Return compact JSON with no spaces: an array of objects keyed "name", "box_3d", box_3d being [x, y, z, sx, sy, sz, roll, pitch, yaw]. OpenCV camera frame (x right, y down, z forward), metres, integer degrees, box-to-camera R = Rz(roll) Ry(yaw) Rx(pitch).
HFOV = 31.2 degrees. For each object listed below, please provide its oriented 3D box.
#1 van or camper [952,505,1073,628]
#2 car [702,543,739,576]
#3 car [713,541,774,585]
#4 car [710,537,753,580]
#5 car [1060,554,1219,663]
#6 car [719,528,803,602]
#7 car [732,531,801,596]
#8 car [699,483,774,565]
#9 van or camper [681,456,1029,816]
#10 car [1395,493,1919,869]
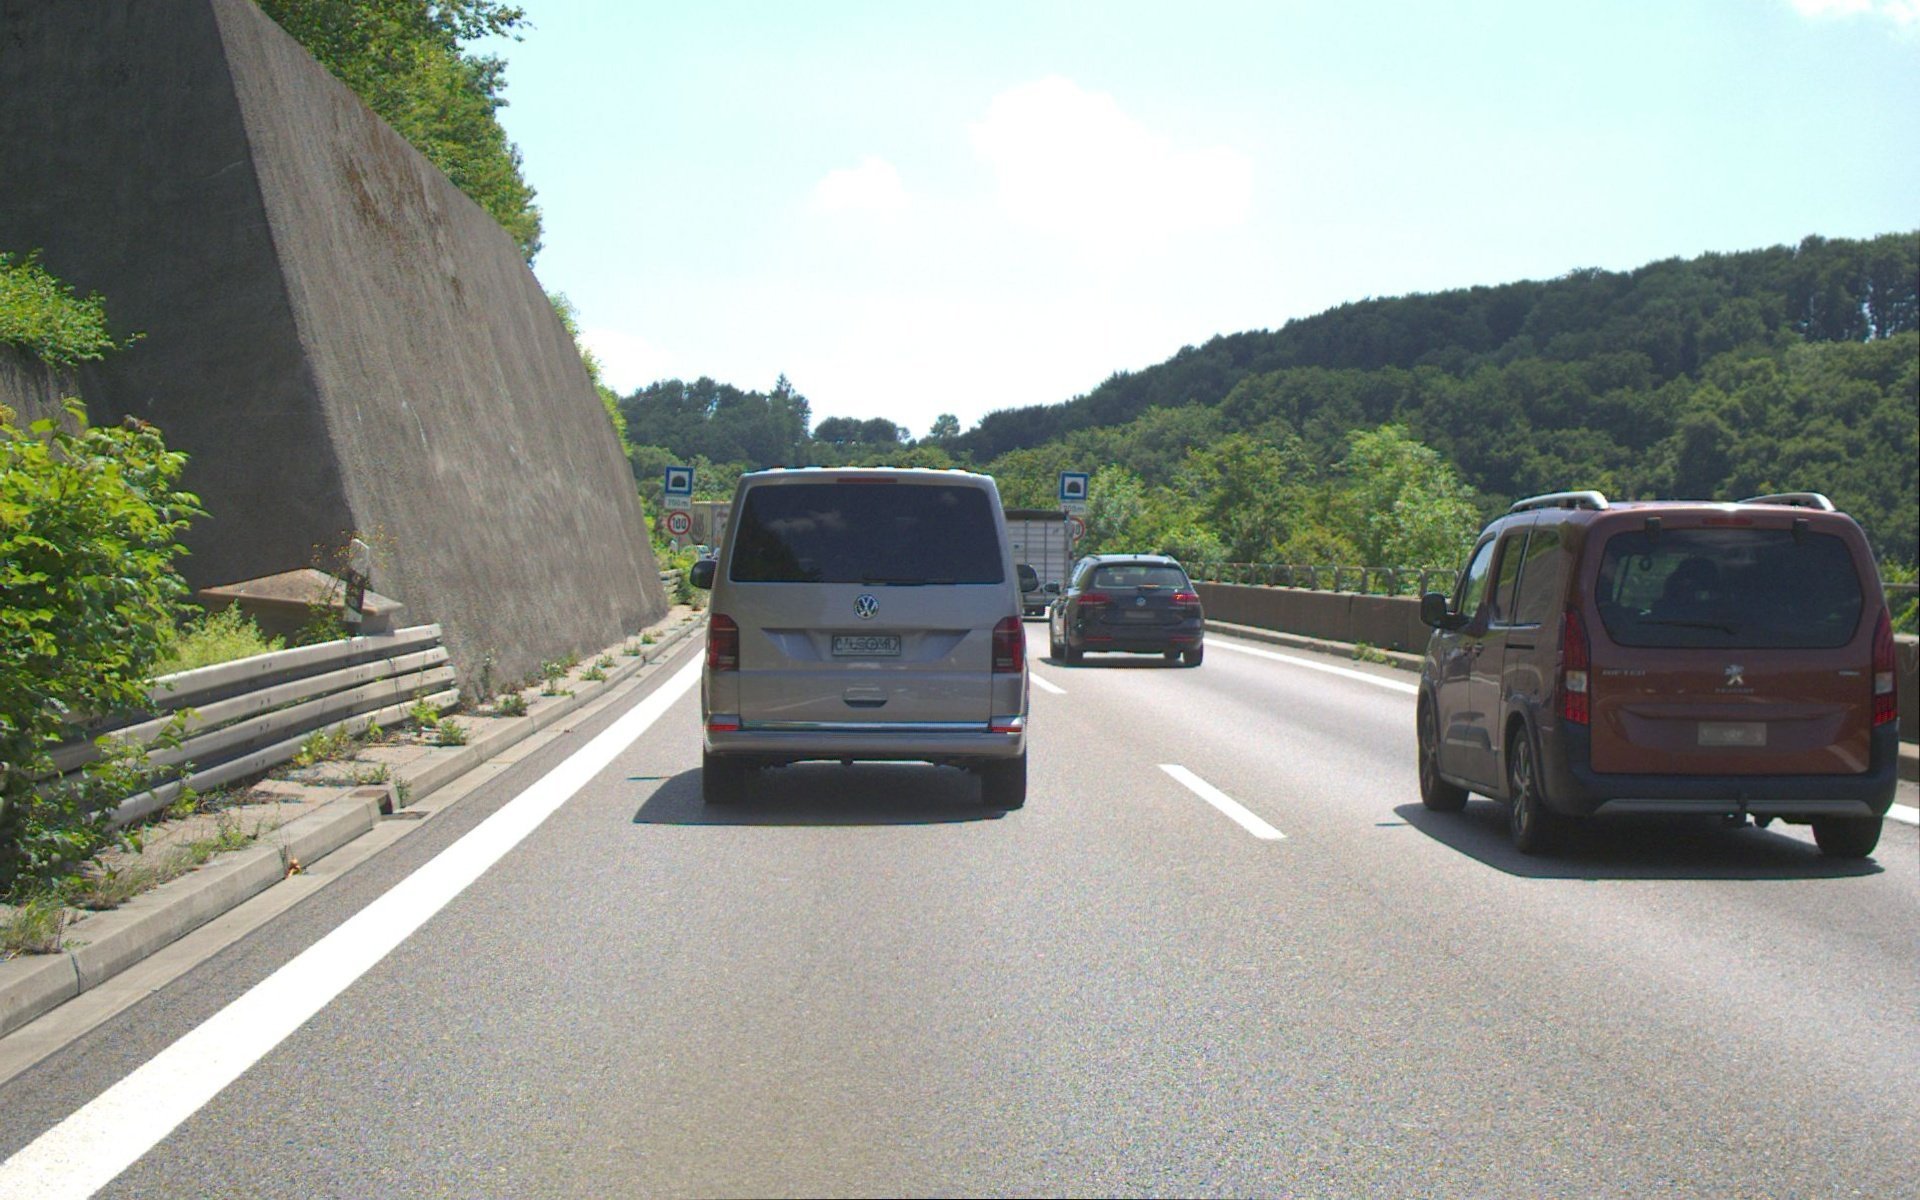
[{"name":"van or camper","box_3d":[1.095,-0.726,74.612,2.263,2.542,4.737,-1,1,-3]},{"name":"car","box_3d":[-12.868,-2.174,184.547,1.845,1.744,4.000,0,1,-2]},{"name":"car","box_3d":[-8.199,-1.408,129.629,2.142,1.601,5.079,0,1,-5]},{"name":"car","box_3d":[-11.000,-2.006,165.645,1.993,2.007,4.000,-1,0,-3]},{"name":"car","box_3d":[2.342,0.086,45.634,1.768,1.371,3.593,0,1,-2]},{"name":"car","box_3d":[-5.029,-0.899,86.510,1.993,1.811,4.001,0,1,-5]},{"name":"car","box_3d":[-5.863,-1.121,103.980,1.993,1.908,4.001,0,1,-4]},{"name":"car","box_3d":[-13.742,-4.617,210.269,4.042,4.855,10.111,0,1,-7]},{"name":"van or camper","box_3d":[-0.622,0.181,21.027,1.875,1.943,4.294,-1,0,-1]},{"name":"car","box_3d":[3.612,0.369,18.699,1.833,1.778,4.676,0,0,-1]}]
